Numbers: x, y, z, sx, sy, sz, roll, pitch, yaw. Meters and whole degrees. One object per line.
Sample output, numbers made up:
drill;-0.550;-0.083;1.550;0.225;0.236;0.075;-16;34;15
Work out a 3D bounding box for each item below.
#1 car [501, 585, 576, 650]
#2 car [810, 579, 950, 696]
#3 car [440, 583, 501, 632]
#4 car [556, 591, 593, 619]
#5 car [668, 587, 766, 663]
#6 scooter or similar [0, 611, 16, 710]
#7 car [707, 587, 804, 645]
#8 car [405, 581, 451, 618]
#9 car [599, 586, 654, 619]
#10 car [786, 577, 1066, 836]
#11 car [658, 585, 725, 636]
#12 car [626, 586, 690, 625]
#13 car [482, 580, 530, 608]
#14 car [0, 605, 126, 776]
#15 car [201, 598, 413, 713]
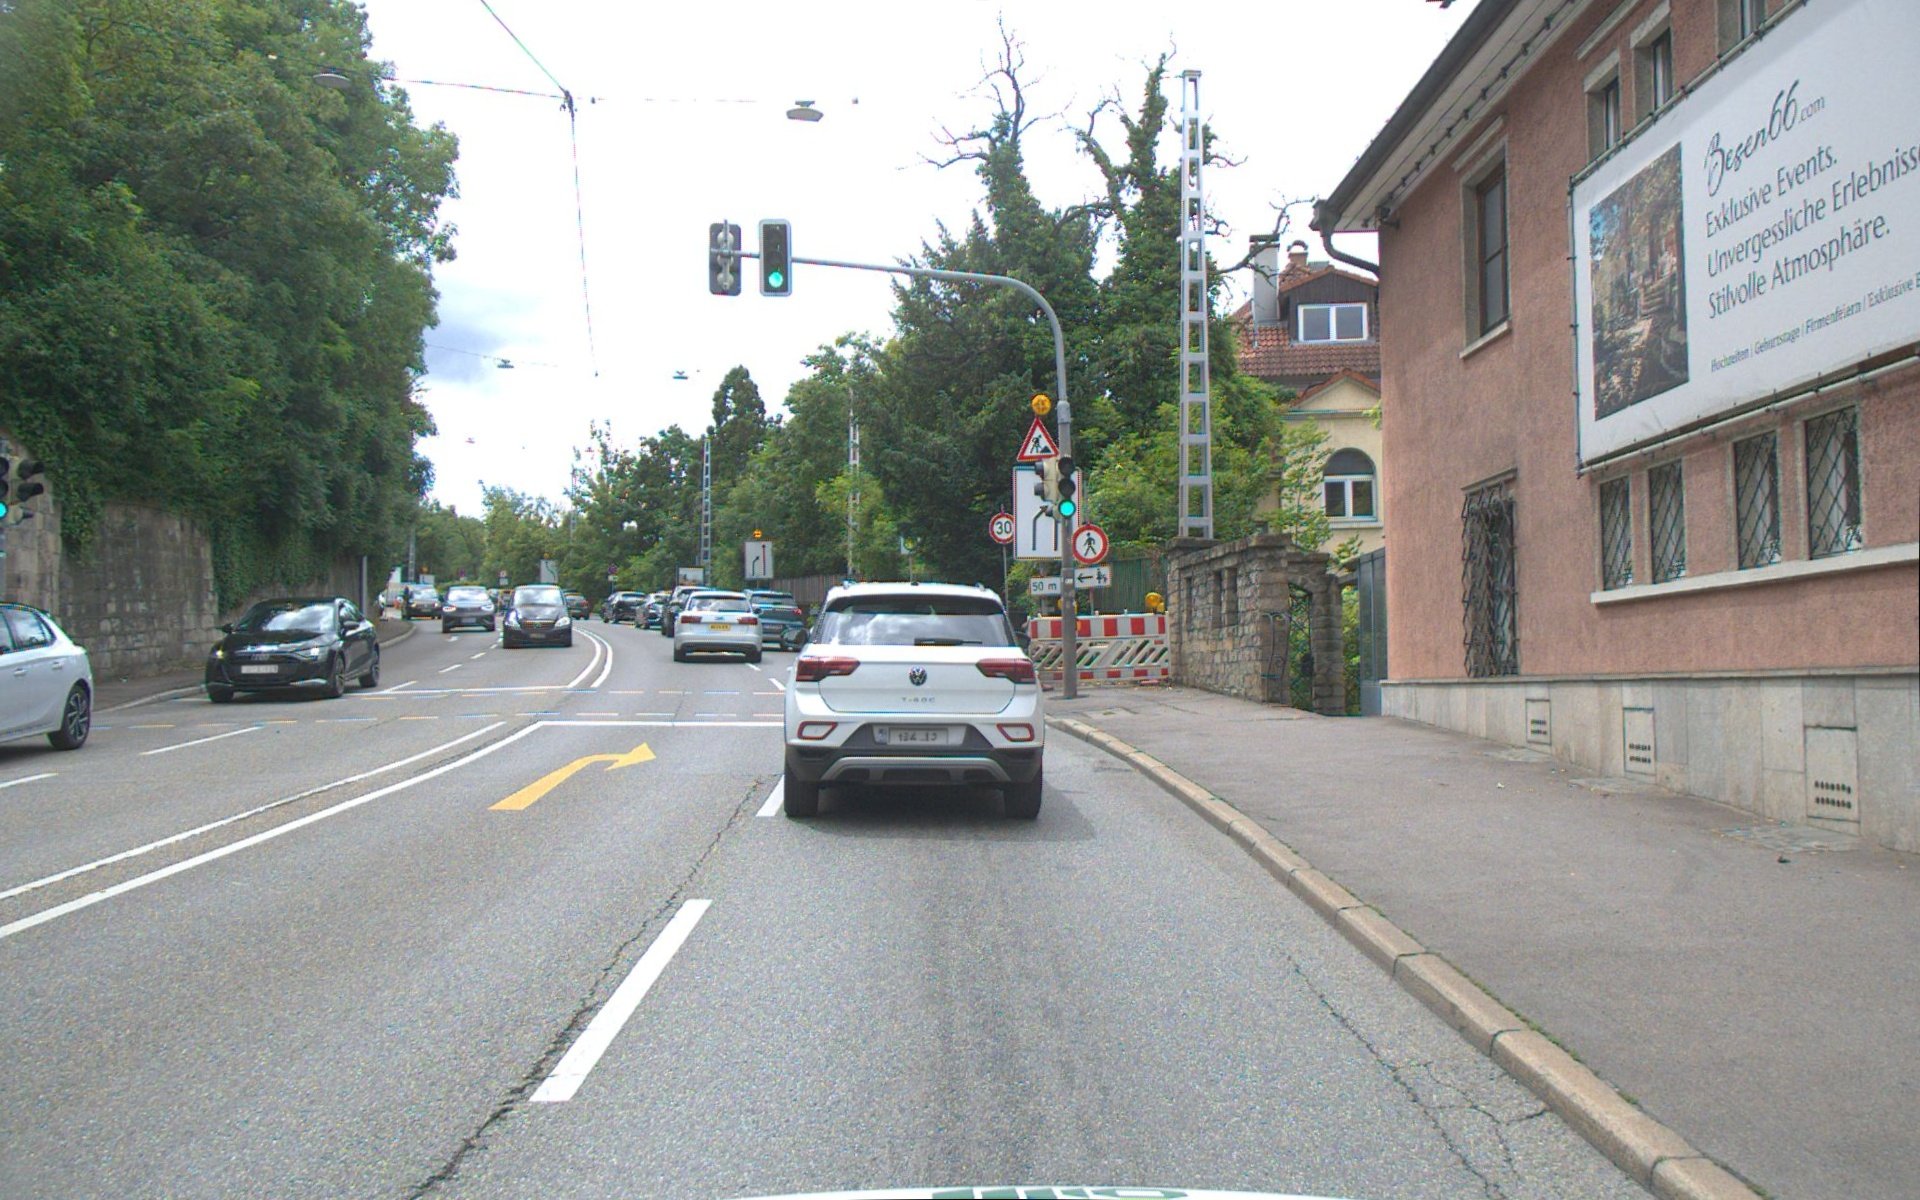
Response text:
car;-11.095;0.422;43.694;1.724;1.593;3.668;-1;1;-12
car;-1.302;0.539;25.459;1.725;1.638;3.787;1;0;-9
car;-17.859;0.250;60.263;1.963;1.636;4.453;-2;1;-18
car;-21.202;0.283;90.886;1.752;1.480;3.982;1;0;-17
car;-5.222;0.512;35.228;1.727;1.497;3.783;1;0;-13
scooter or similar;-12.885;0.764;21.309;0.426;1.259;1.092;4;-1;40
car;-5.483;0.416;43.919;1.961;1.439;4.133;-1;0;-16
car;-27.720;-0.046;86.304;1.712;1.878;4.238;-1;1;-10
car;-15.458;0.108;76.521;1.964;1.475;4.127;0;0;-19
car;-0.347;0.672;12.235;1.723;1.583;3.792;1;0;-4
car;-8.930;0.327;54.832;1.959;1.583;4.138;1;1;-13
car;-12.083;0.212;66.011;1.963;1.475;4.128;0;0;-19
car;-29.580;-0.411;107.710;1.826;1.729;3.950;0;1;-36
car;-9.162;0.815;14.679;1.682;1.427;4.020;-1;1;-4
car;-9.608;0.748;24.716;1.650;1.443;4.425;-1;1;-4
